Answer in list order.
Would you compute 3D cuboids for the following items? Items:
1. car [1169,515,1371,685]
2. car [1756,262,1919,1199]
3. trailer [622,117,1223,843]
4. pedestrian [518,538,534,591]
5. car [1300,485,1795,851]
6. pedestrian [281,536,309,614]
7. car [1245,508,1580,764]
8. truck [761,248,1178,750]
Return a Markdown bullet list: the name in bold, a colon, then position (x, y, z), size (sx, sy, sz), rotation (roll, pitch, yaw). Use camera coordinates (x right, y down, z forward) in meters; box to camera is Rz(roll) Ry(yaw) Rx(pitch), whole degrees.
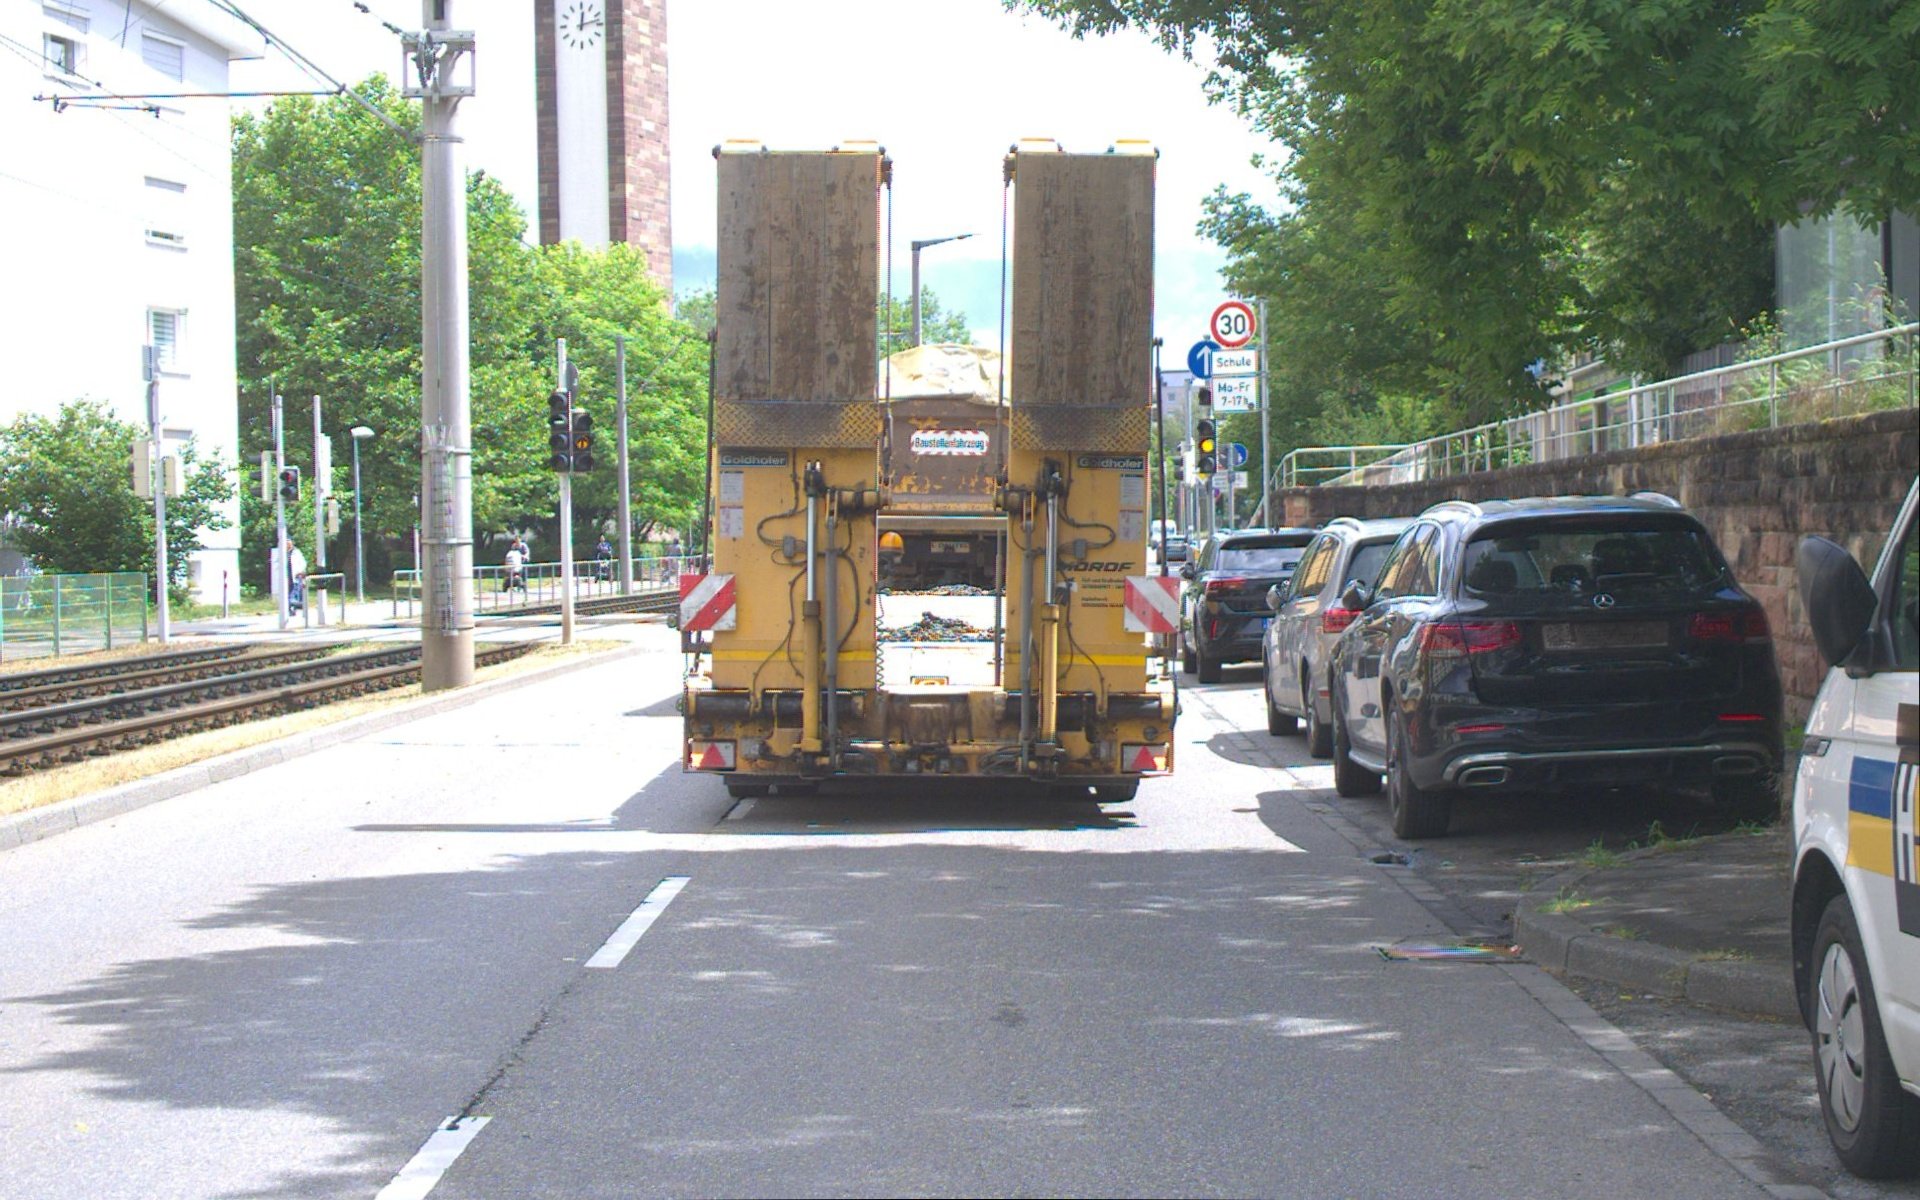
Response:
- **car**: position (3.203, -0.038, 36.145), size (1.851, 1.633, 4.000), rotation (-2, 1, 2)
- **car**: position (2.949, 0.303, 6.090), size (1.973, 1.963, 5.013), rotation (0, 1, 1)
- **trailer**: position (-0.042, -0.689, 21.668), size (2.945, 3.589, 8.683), rotation (1, 1, 2)
- **pedestrian**: position (-12.408, -1.019, 98.247), size (0.348, 1.531, 0.557), rotation (0, 1, 5)
- **car**: position (2.924, 0.273, 18.045), size (1.790, 1.612, 4.448), rotation (-2, 1, 0)
- **pedestrian**: position (-13.416, -0.501, 69.389), size (0.438, 1.575, 0.474), rotation (0, 1, 5)
- **car**: position (3.111, 0.194, 24.421), size (1.790, 1.612, 4.249), rotation (-2, 1, 0)
- **truck**: position (0.159, -0.779, 27.064), size (2.943, 3.560, 4.877), rotation (1, 1, 2)
